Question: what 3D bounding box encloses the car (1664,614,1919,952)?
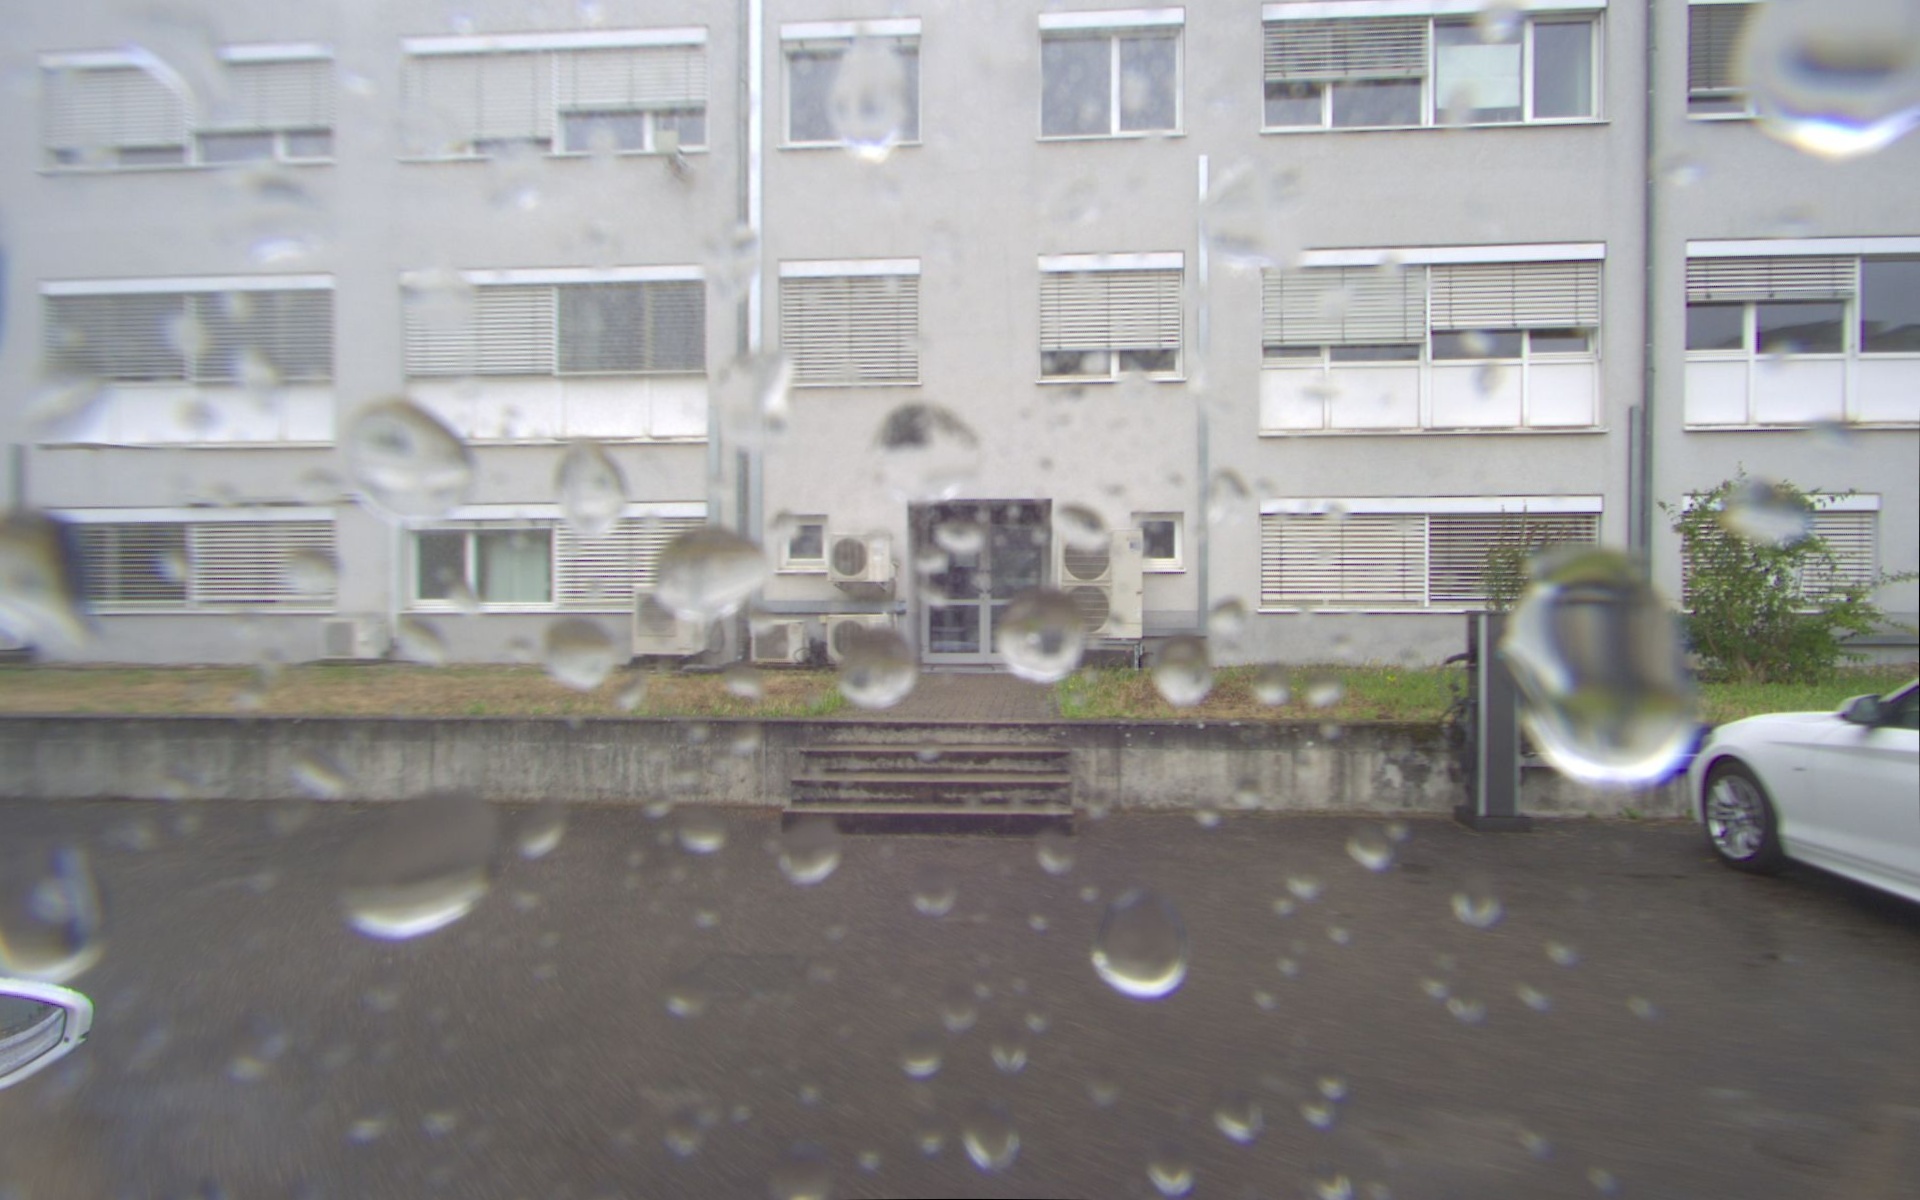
[{"bbox_3d":[5.258,0.828,4.195,1.961,1.509,4.221,1,-1,6],"label":"car"}]
